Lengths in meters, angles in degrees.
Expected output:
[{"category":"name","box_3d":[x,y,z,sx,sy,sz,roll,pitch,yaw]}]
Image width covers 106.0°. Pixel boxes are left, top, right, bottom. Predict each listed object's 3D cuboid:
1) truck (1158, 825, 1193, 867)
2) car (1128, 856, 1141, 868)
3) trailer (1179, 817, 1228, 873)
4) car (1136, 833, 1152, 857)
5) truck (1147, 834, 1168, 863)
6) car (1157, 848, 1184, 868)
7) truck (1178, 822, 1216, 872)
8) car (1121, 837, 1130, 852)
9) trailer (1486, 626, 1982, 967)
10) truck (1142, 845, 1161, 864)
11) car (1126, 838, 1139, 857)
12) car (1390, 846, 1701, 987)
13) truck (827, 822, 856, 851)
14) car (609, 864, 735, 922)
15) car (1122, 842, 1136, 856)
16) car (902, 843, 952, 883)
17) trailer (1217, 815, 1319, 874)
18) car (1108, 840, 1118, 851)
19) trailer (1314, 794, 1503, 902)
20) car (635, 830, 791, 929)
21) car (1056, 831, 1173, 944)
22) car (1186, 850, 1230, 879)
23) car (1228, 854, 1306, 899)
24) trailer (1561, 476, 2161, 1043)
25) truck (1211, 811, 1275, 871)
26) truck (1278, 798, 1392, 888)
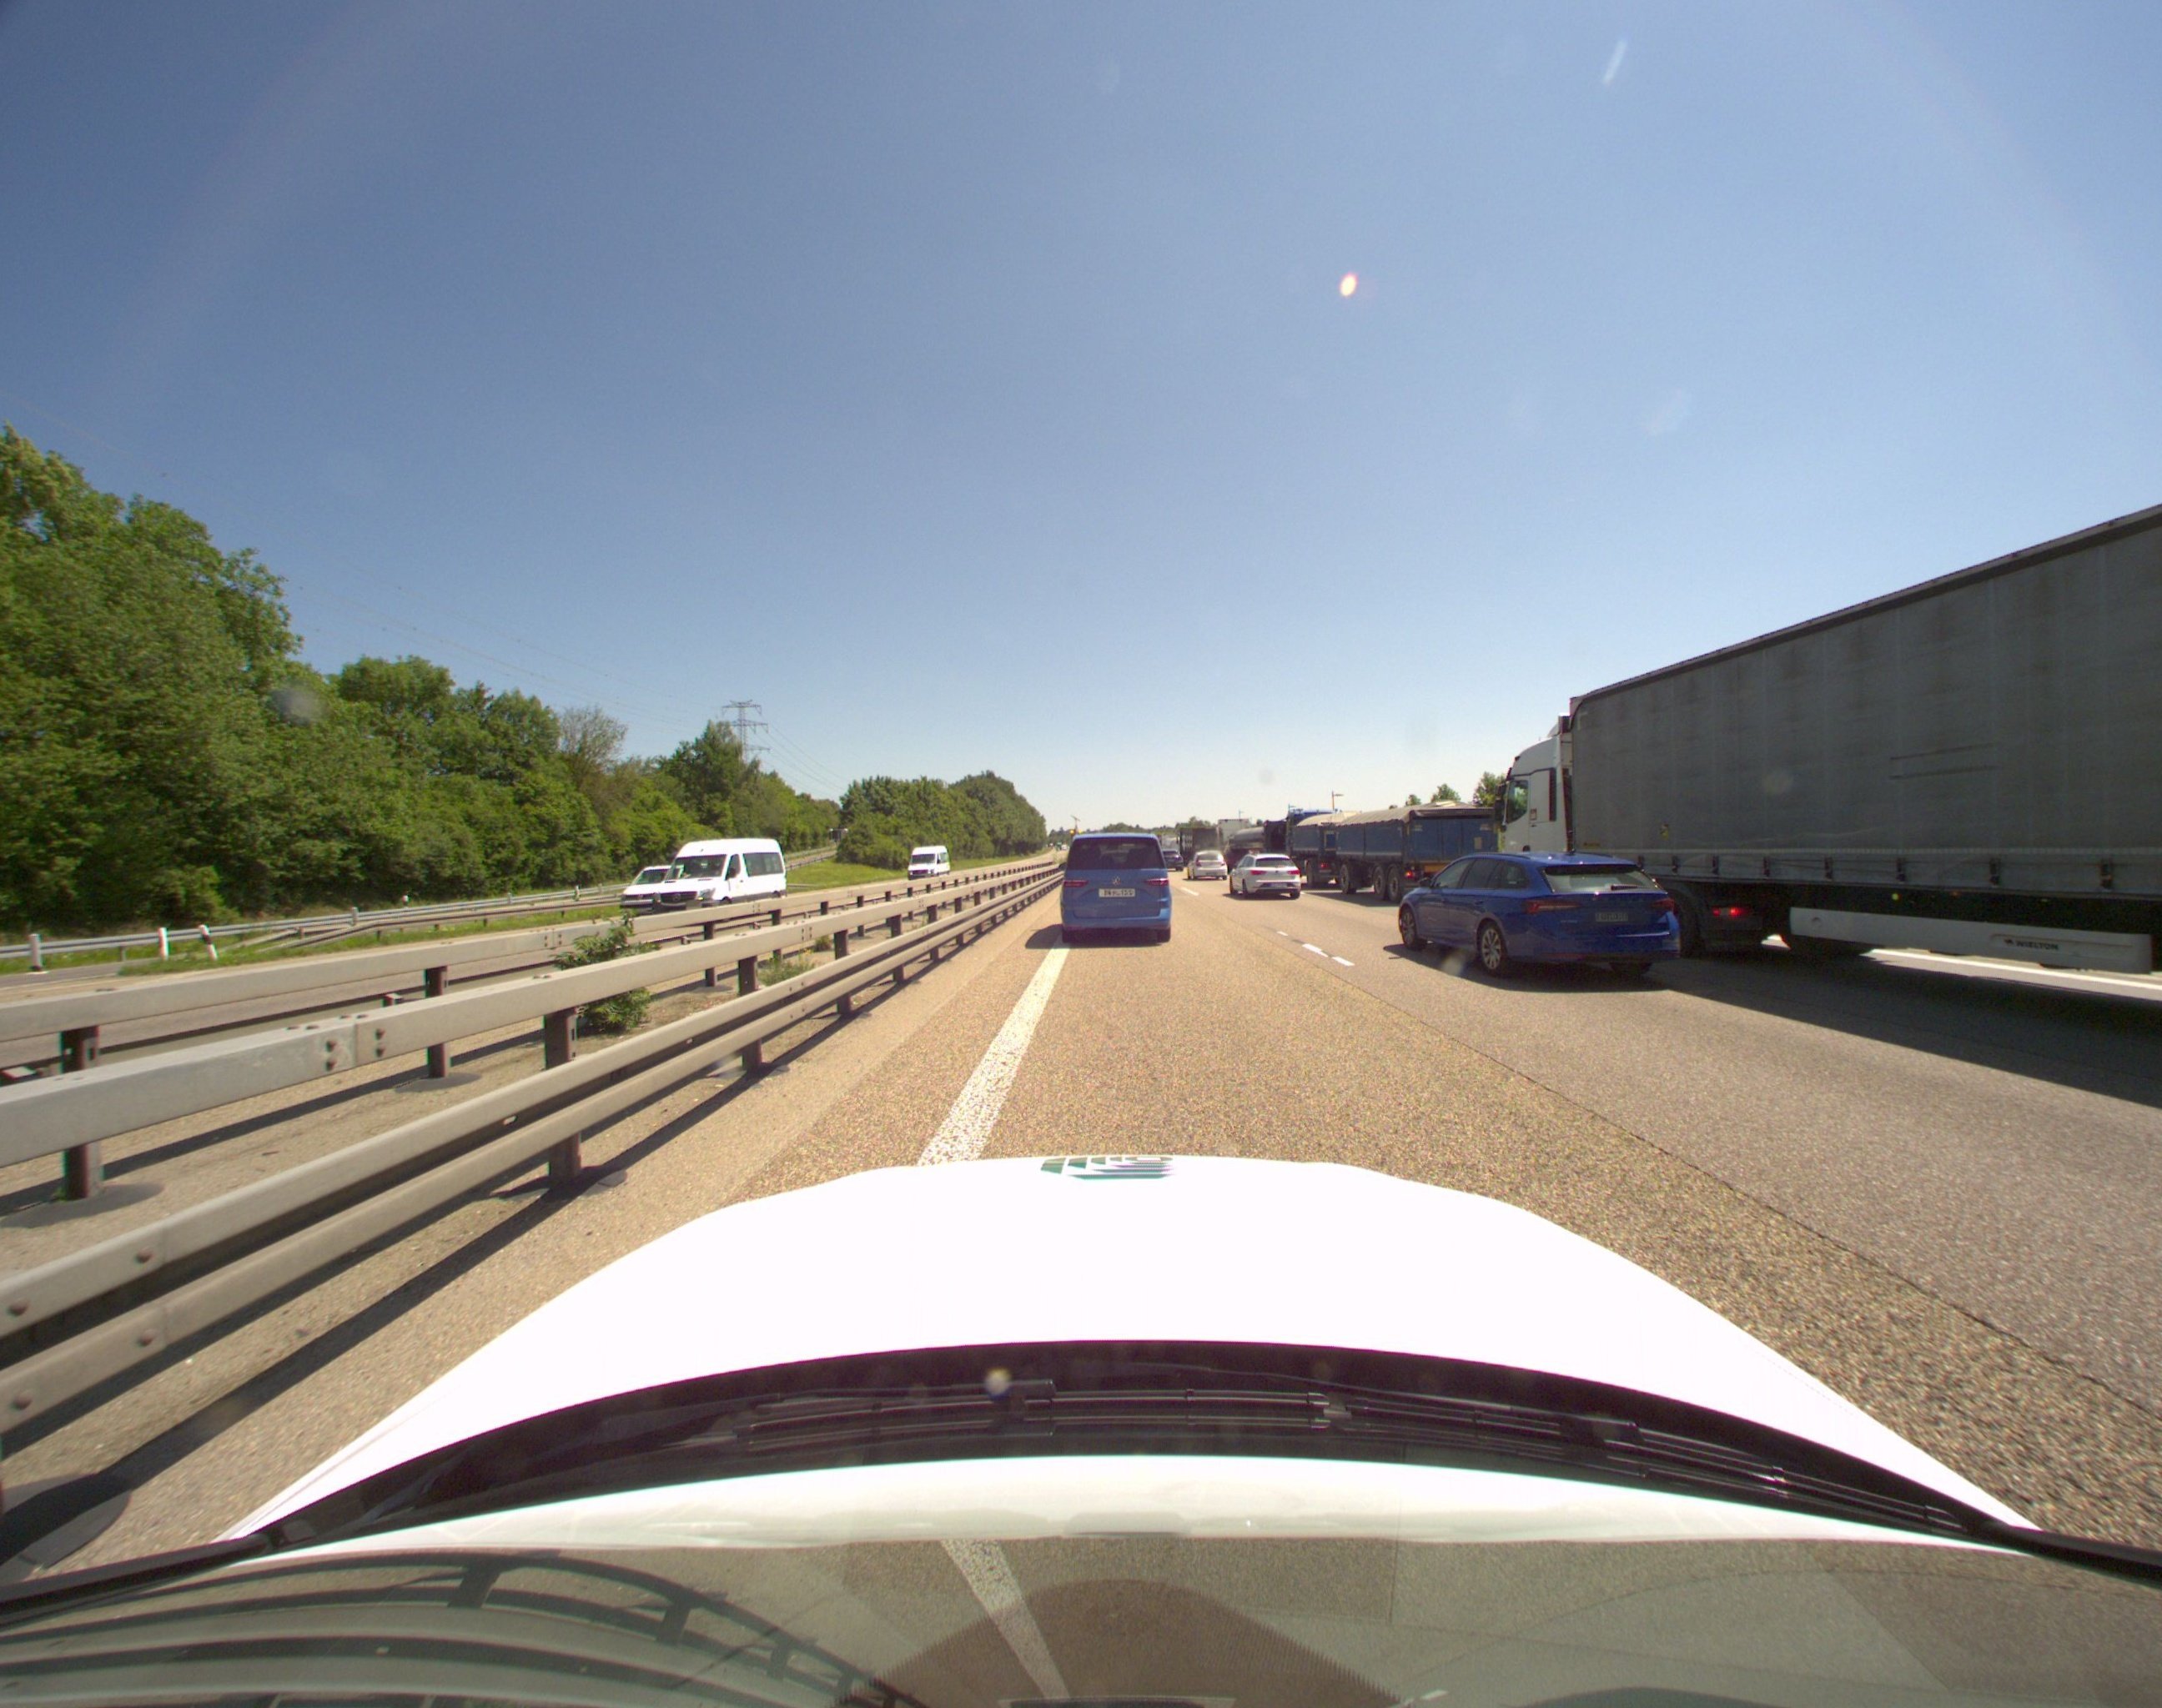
[{"category":"truck","box_3d":[12.344,-0.879,108.025,3.606,5.213,15.699,0,-1,3]},{"category":"car","box_3d":[8.818,1.284,133.291,1.986,2.014,4.001,0,-1,2]},{"category":"trailer","box_3d":[12.085,-0.778,81.623,3.631,5.136,13.087,0,-1,3]},{"category":"car","box_3d":[13.949,-1.950,181.378,3.206,5.257,8.148,0,-1,2]},{"category":"truck","box_3d":[13.301,-0.860,142.550,3.057,4.920,10.694,0,-1,2]},{"category":"car","box_3d":[6.784,0.321,62.016,1.774,1.524,4.001,0,-1,2]},{"category":"truck","box_3d":[12.485,-0.673,88.036,3.642,5.180,5.715,0,-1,4]},{"category":"car","box_3d":[14.355,-2.942,264.418,2.706,4.713,11.565,0,-1,2]},{"category":"trailer","box_3d":[9.435,-0.707,12.998,2.913,4.044,6.414,-1,0,2]},{"category":"truck","box_3d":[7.193,0.104,82.904,1.719,1.857,4.001,0,-1,2]},{"category":"car","box_3d":[14.744,-1.873,234.249,3.209,5.257,8.139,0,-1,-1]},{"category":"car","box_3d":[5.642,0.672,10.645,1.699,1.441,4.430,0,-1,3]},{"category":"truck","box_3d":[-63.514,-4.604,215.886,4.699,7.228,13.515,0,-1,-28]},{"category":"car","box_3d":[-15.313,1.370,30.906,1.858,1.904,5.493,-3,-1,0]},{"category":"car","box_3d":[9.414,-0.936,160.057,2.541,2.717,5.623,0,-1,2]},{"category":"car","box_3d":[-10.799,0.629,57.610,2.148,2.594,5.892,-3,-1,1]},{"category":"trailer","box_3d":[11.124,-0.394,50.590,3.631,3.079,15.786,0,-1,4]},{"category":"car","box_3d":[9.979,-2.728,253.326,2.478,3.204,7.368,0,-1,-1]},{"category":"trailer","box_3d":[9.992,-0.169,26.156,2.733,2.836,9.120,0,0,2]},{"category":"car","box_3d":[-11.578,0.764,26.215,2.045,2.651,5.840,-5,-1,1]},{"category":"car","box_3d":[0.657,0.569,15.288,1.893,1.838,4.003,0,-1,3]},{"category":"car","box_3d":[6.714,0.557,43.398,1.833,1.454,4.002,0,-1,2]},{"category":"car","box_3d":[5.996,0.676,26.731,1.860,1.361,4.004,0,0,3]},{"category":"trailer","box_3d":[9.243,-0.700,6.597,2.951,4.049,13.758,-1,0,2]},{"category":"truck","box_3d":[11.694,-0.843,59.436,3.610,4.094,7.531,0,-1,4]},{"category":"truck","box_3d":[10.274,-0.455,33.738,2.733,3.311,7.137,0,1,2]}]
